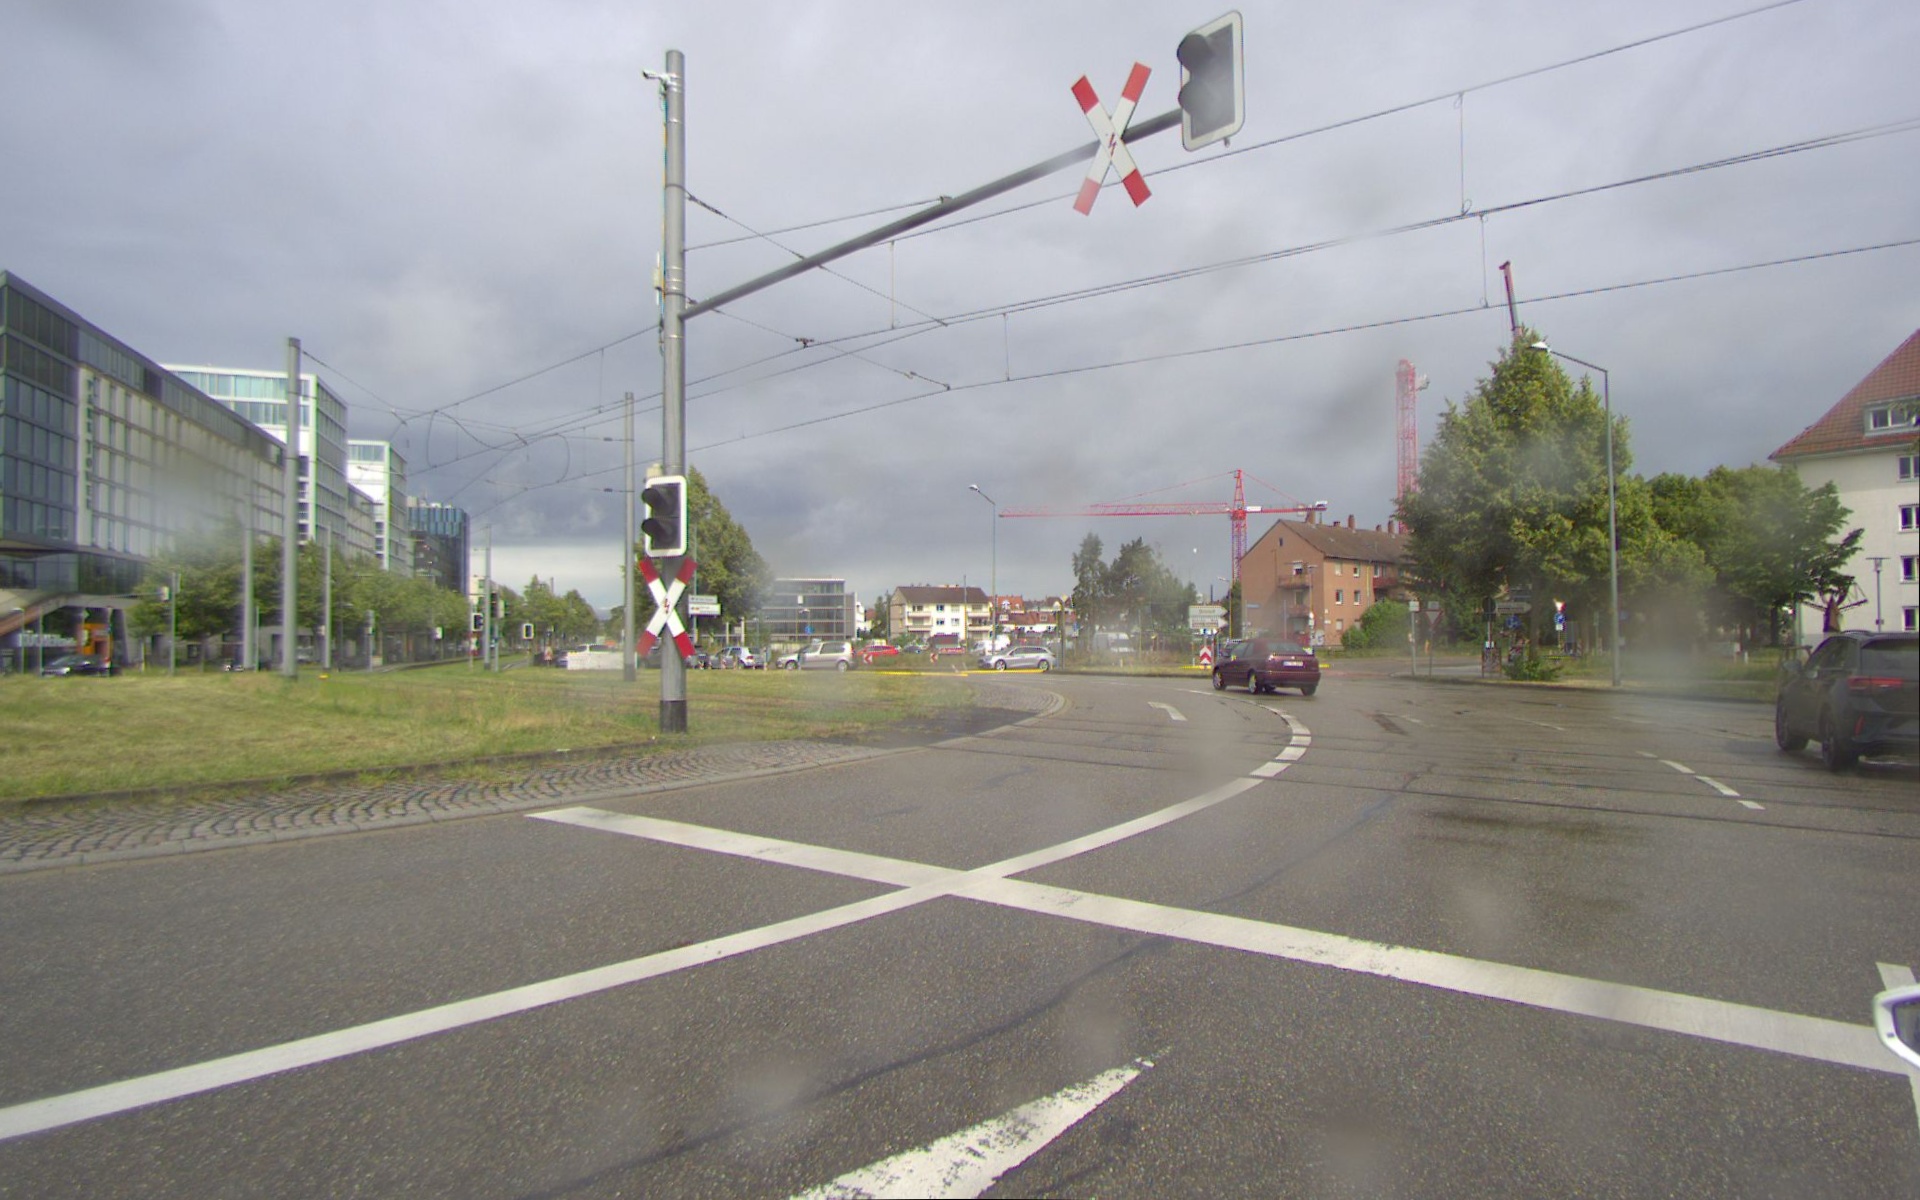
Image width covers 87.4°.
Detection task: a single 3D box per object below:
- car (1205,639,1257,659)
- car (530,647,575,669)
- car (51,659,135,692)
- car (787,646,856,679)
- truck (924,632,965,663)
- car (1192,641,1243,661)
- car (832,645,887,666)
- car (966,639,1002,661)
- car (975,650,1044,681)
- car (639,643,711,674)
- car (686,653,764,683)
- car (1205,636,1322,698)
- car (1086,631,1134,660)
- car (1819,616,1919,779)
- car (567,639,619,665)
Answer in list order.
[{"bbox_3d":[23.025,4.200,85.487,3.983,1.654,1.616,0,-2,-7],"label":"car"},{"bbox_3d":[-29.876,4.220,73.564,1.791,1.537,3.949,1,-3,-44],"label":"car"},{"bbox_3d":[-44.160,3.802,51.256,1.698,1.528,3.894,0,-2,-15],"label":"car"},{"bbox_3d":[-7.089,3.187,51.459,3.436,1.581,1.548,0,-2,-9],"label":"car"},{"bbox_3d":[-1.319,3.855,82.226,2.355,2.241,6.089,0,0,-10],"label":"truck"},{"bbox_3d":[22.556,4.446,88.012,3.983,1.654,1.616,0,-2,-7],"label":"car"},{"bbox_3d":[-8.179,4.531,81.948,4.138,1.531,1.845,1,0,-27],"label":"car"},{"bbox_3d":[2.045,4.244,85.881,1.829,1.723,3.983,1,0,-19],"label":"car"},{"bbox_3d":[2.770,3.646,55.889,3.494,1.581,1.594,0,-2,-19],"label":"car"},{"bbox_3d":[-15.368,3.159,54.179,3.610,1.581,1.572,-2,-2,27],"label":"car"},{"bbox_3d":[-13.260,3.850,56.816,3.920,1.606,1.798,-1,-2,16],"label":"car"},{"bbox_3d":[8.007,1.740,26.876,1.687,1.481,3.999,-1,-2,-3],"label":"car"},{"bbox_3d":[12.204,3.689,82.040,2.006,2.113,6.255,0,0,-10],"label":"car"},{"bbox_3d":[11.158,1.018,11.446,1.875,1.638,3.983,-4,-4,39],"label":"car"},{"bbox_3d":[-22.402,3.169,61.318,3.449,1.530,1.493,-2,-2,41],"label":"car"}]
